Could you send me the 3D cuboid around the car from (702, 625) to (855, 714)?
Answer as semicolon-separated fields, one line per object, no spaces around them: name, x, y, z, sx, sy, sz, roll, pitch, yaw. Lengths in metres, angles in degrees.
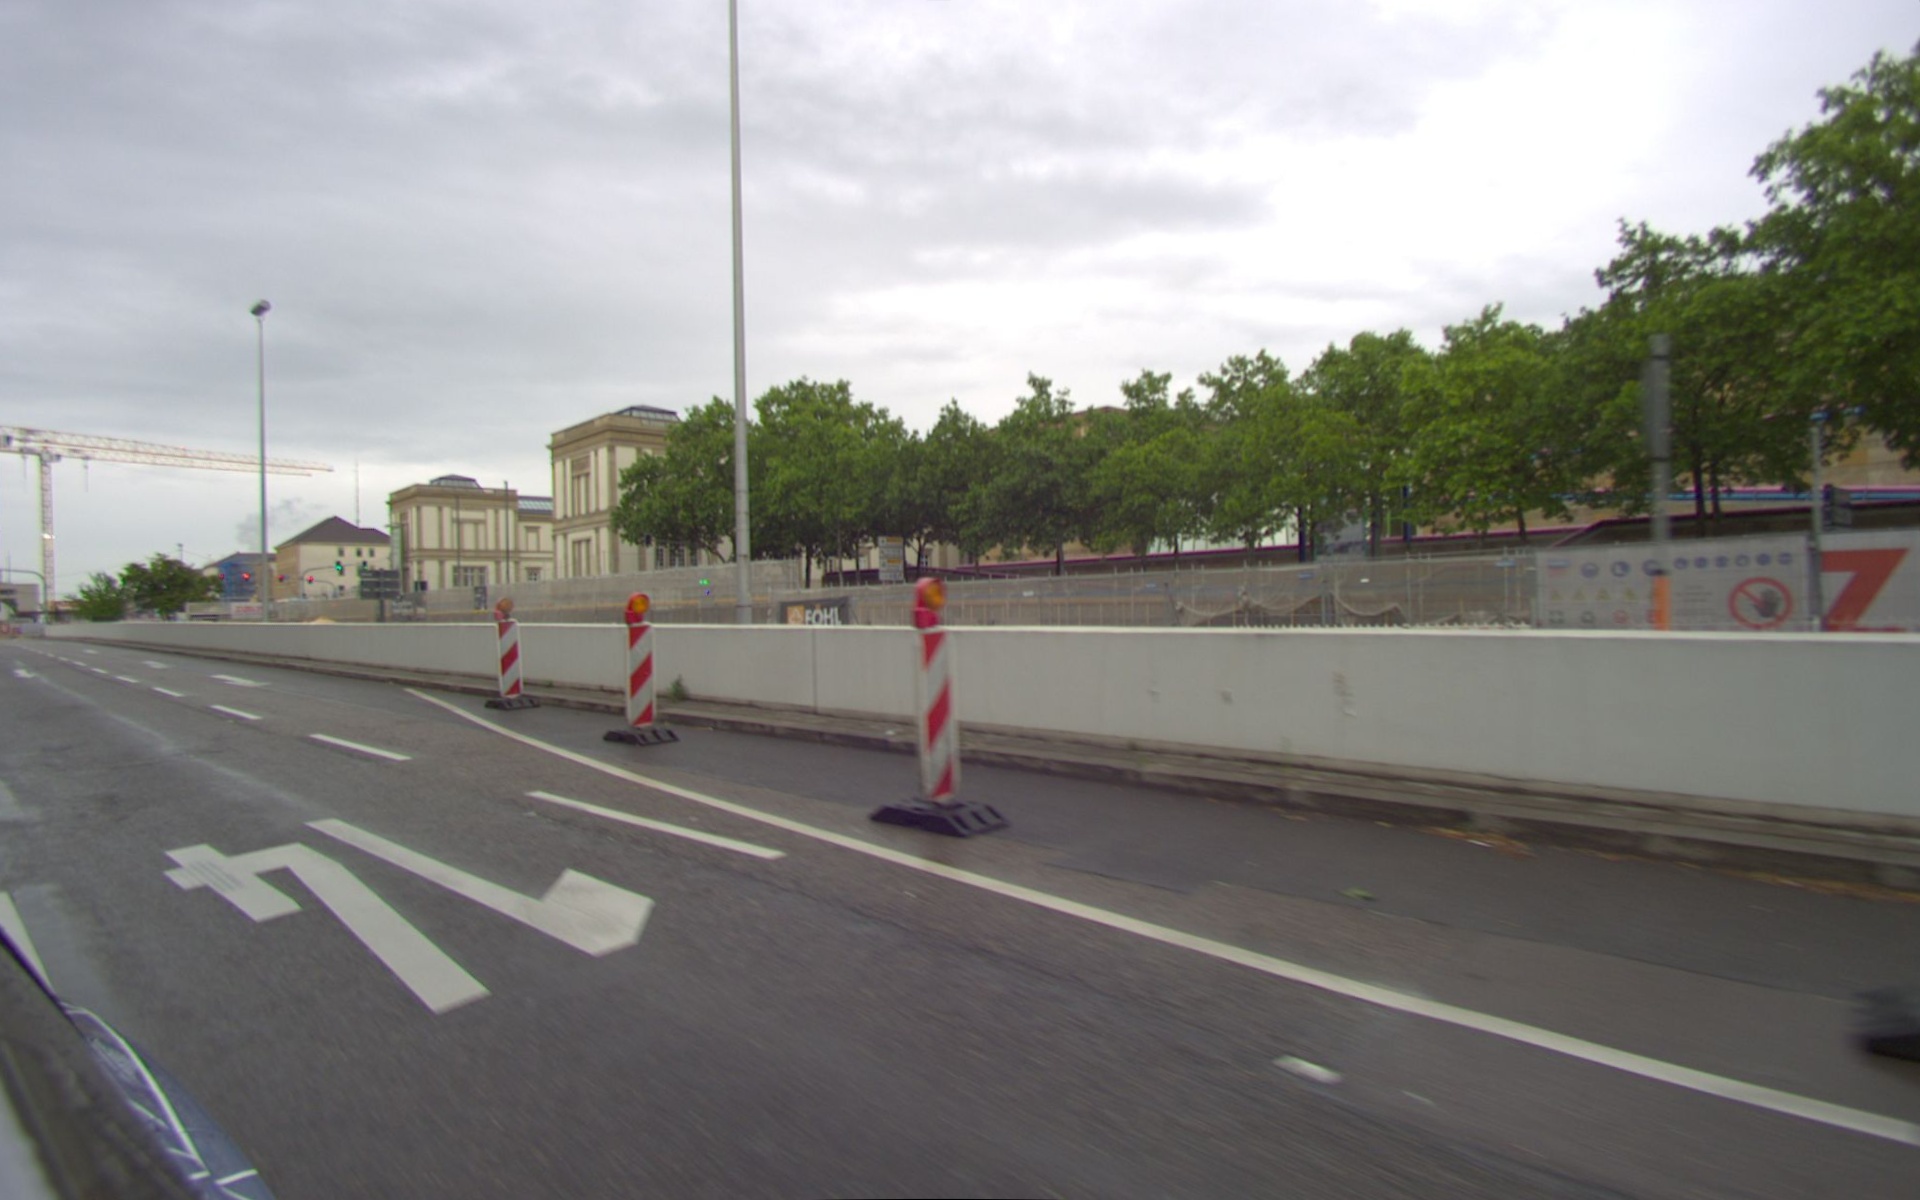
car;-4.689;1.677;25.786;4.002;2.029;1.876;-1;-1;44

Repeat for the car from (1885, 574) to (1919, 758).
car;11.420;0.657;9.986;3.358;1.882;1.681;-1;-1;43
